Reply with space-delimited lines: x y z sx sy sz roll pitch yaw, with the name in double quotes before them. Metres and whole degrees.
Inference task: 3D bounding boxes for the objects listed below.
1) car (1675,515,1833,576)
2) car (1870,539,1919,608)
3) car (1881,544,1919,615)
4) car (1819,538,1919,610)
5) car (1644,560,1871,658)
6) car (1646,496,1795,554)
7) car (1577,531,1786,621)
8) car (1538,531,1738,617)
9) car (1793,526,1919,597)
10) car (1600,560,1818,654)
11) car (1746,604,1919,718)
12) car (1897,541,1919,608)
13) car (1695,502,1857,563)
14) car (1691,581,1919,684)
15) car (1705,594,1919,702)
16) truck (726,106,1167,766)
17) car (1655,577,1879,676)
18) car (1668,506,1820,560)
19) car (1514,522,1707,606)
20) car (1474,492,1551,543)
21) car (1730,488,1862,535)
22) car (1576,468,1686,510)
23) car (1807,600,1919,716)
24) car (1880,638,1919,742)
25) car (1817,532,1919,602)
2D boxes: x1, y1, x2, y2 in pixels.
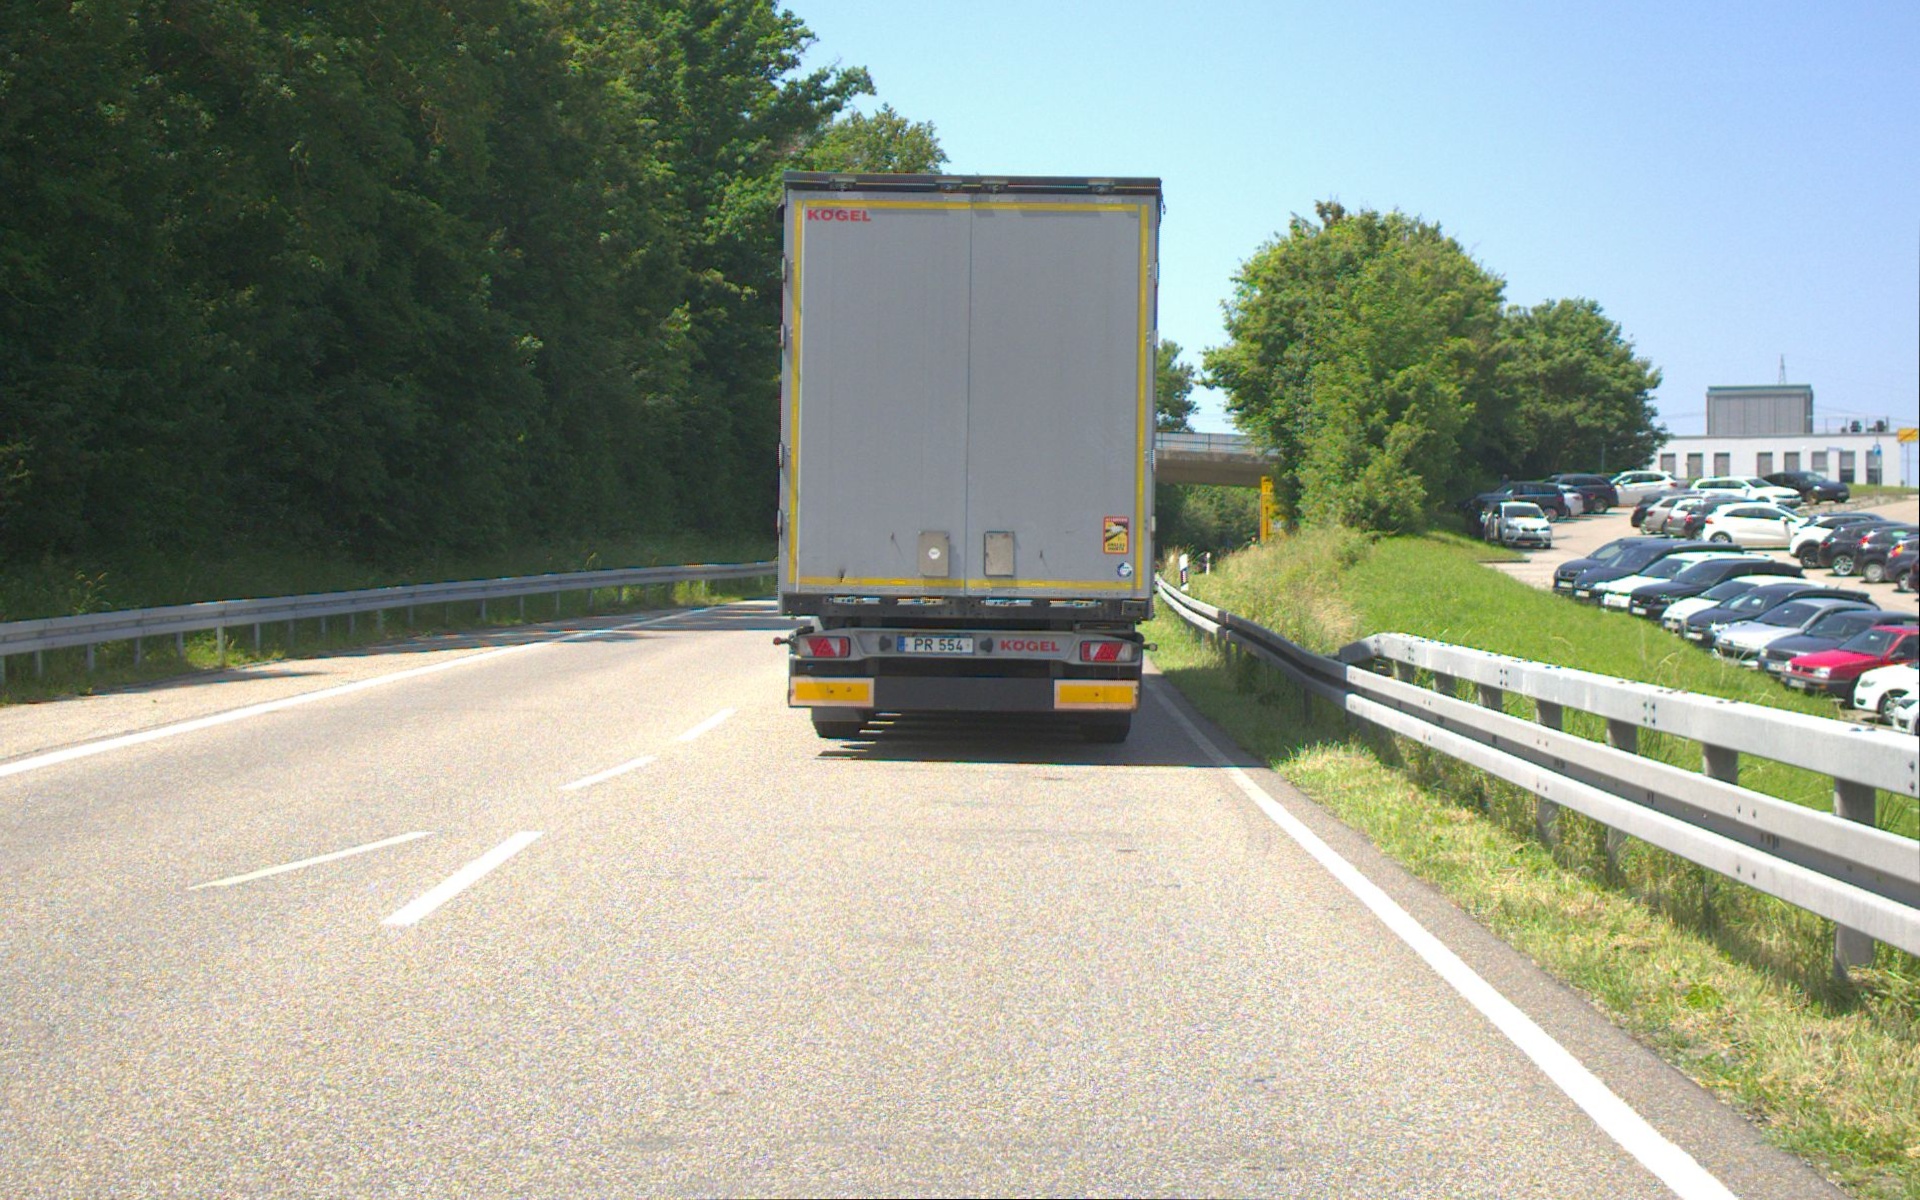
"car" 25.306 -1.749 109.551 4.577 1.623 1.818 5 3 22
"car" 25.912 -0.506 88.094 4.580 1.623 1.818 7 4 28
"car" 24.694 -0.299 82.490 4.580 1.623 1.818 7 4 28
"car" 25.424 -0.602 91.383 4.580 1.623 1.818 7 4 28
"car" 16.980 0.197 73.197 4.362 1.679 1.889 3 4 -27
"car" 25.639 -2.552 115.895 4.577 1.623 1.818 5 4 22
"car" 16.733 -0.548 79.718 4.362 1.679 1.889 3 4 -27
"car" 16.386 -0.625 83.061 4.362 1.679 1.889 3 4 -27
"car" 26.142 -1.050 97.202 4.580 1.623 1.818 7 4 28
"car" 16.603 0.151 76.228 4.362 1.679 1.889 3 4 -27
"car" 16.390 1.129 60.848 4.361 1.679 1.889 4 4 -20
"car" 25.785 -0.425 85.061 4.580 1.623 1.818 7 4 28
"car" 25.325 -2.107 106.751 4.577 1.623 1.818 4 3 23
"car" 16.592 0.645 67.193 4.363 1.679 1.888 3 4 -35
"car" 16.084 0.907 63.641 4.363 1.679 1.888 3 4 -35
"truck" -0.122 -1.204 27.798 2.866 4.344 9.790 1 1 0
"car" 16.504 0.547 70.259 4.363 1.679 1.888 3 4 -35
"car" 25.724 -2.198 112.736 4.577 1.623 1.818 2 2 23
"car" 16.302 -0.896 86.106 4.362 1.679 1.889 3 4 -27
"car" 17.870 -2.676 111.326 1.624 1.349 3.711 5 4 -2
"car" 32.566 -3.462 134.016 4.581 1.623 1.817 4 2 36
"car" 29.068 -4.819 148.979 4.362 1.679 1.889 -1 6 -26
"car" 16.649 1.105 57.459 4.451 1.679 1.886 7 4 23
"car" 16.991 1.636 54.097 4.371 1.553 1.885 7 4 30
"car" 25.944 -0.809 93.697 4.580 1.623 1.818 7 4 28
